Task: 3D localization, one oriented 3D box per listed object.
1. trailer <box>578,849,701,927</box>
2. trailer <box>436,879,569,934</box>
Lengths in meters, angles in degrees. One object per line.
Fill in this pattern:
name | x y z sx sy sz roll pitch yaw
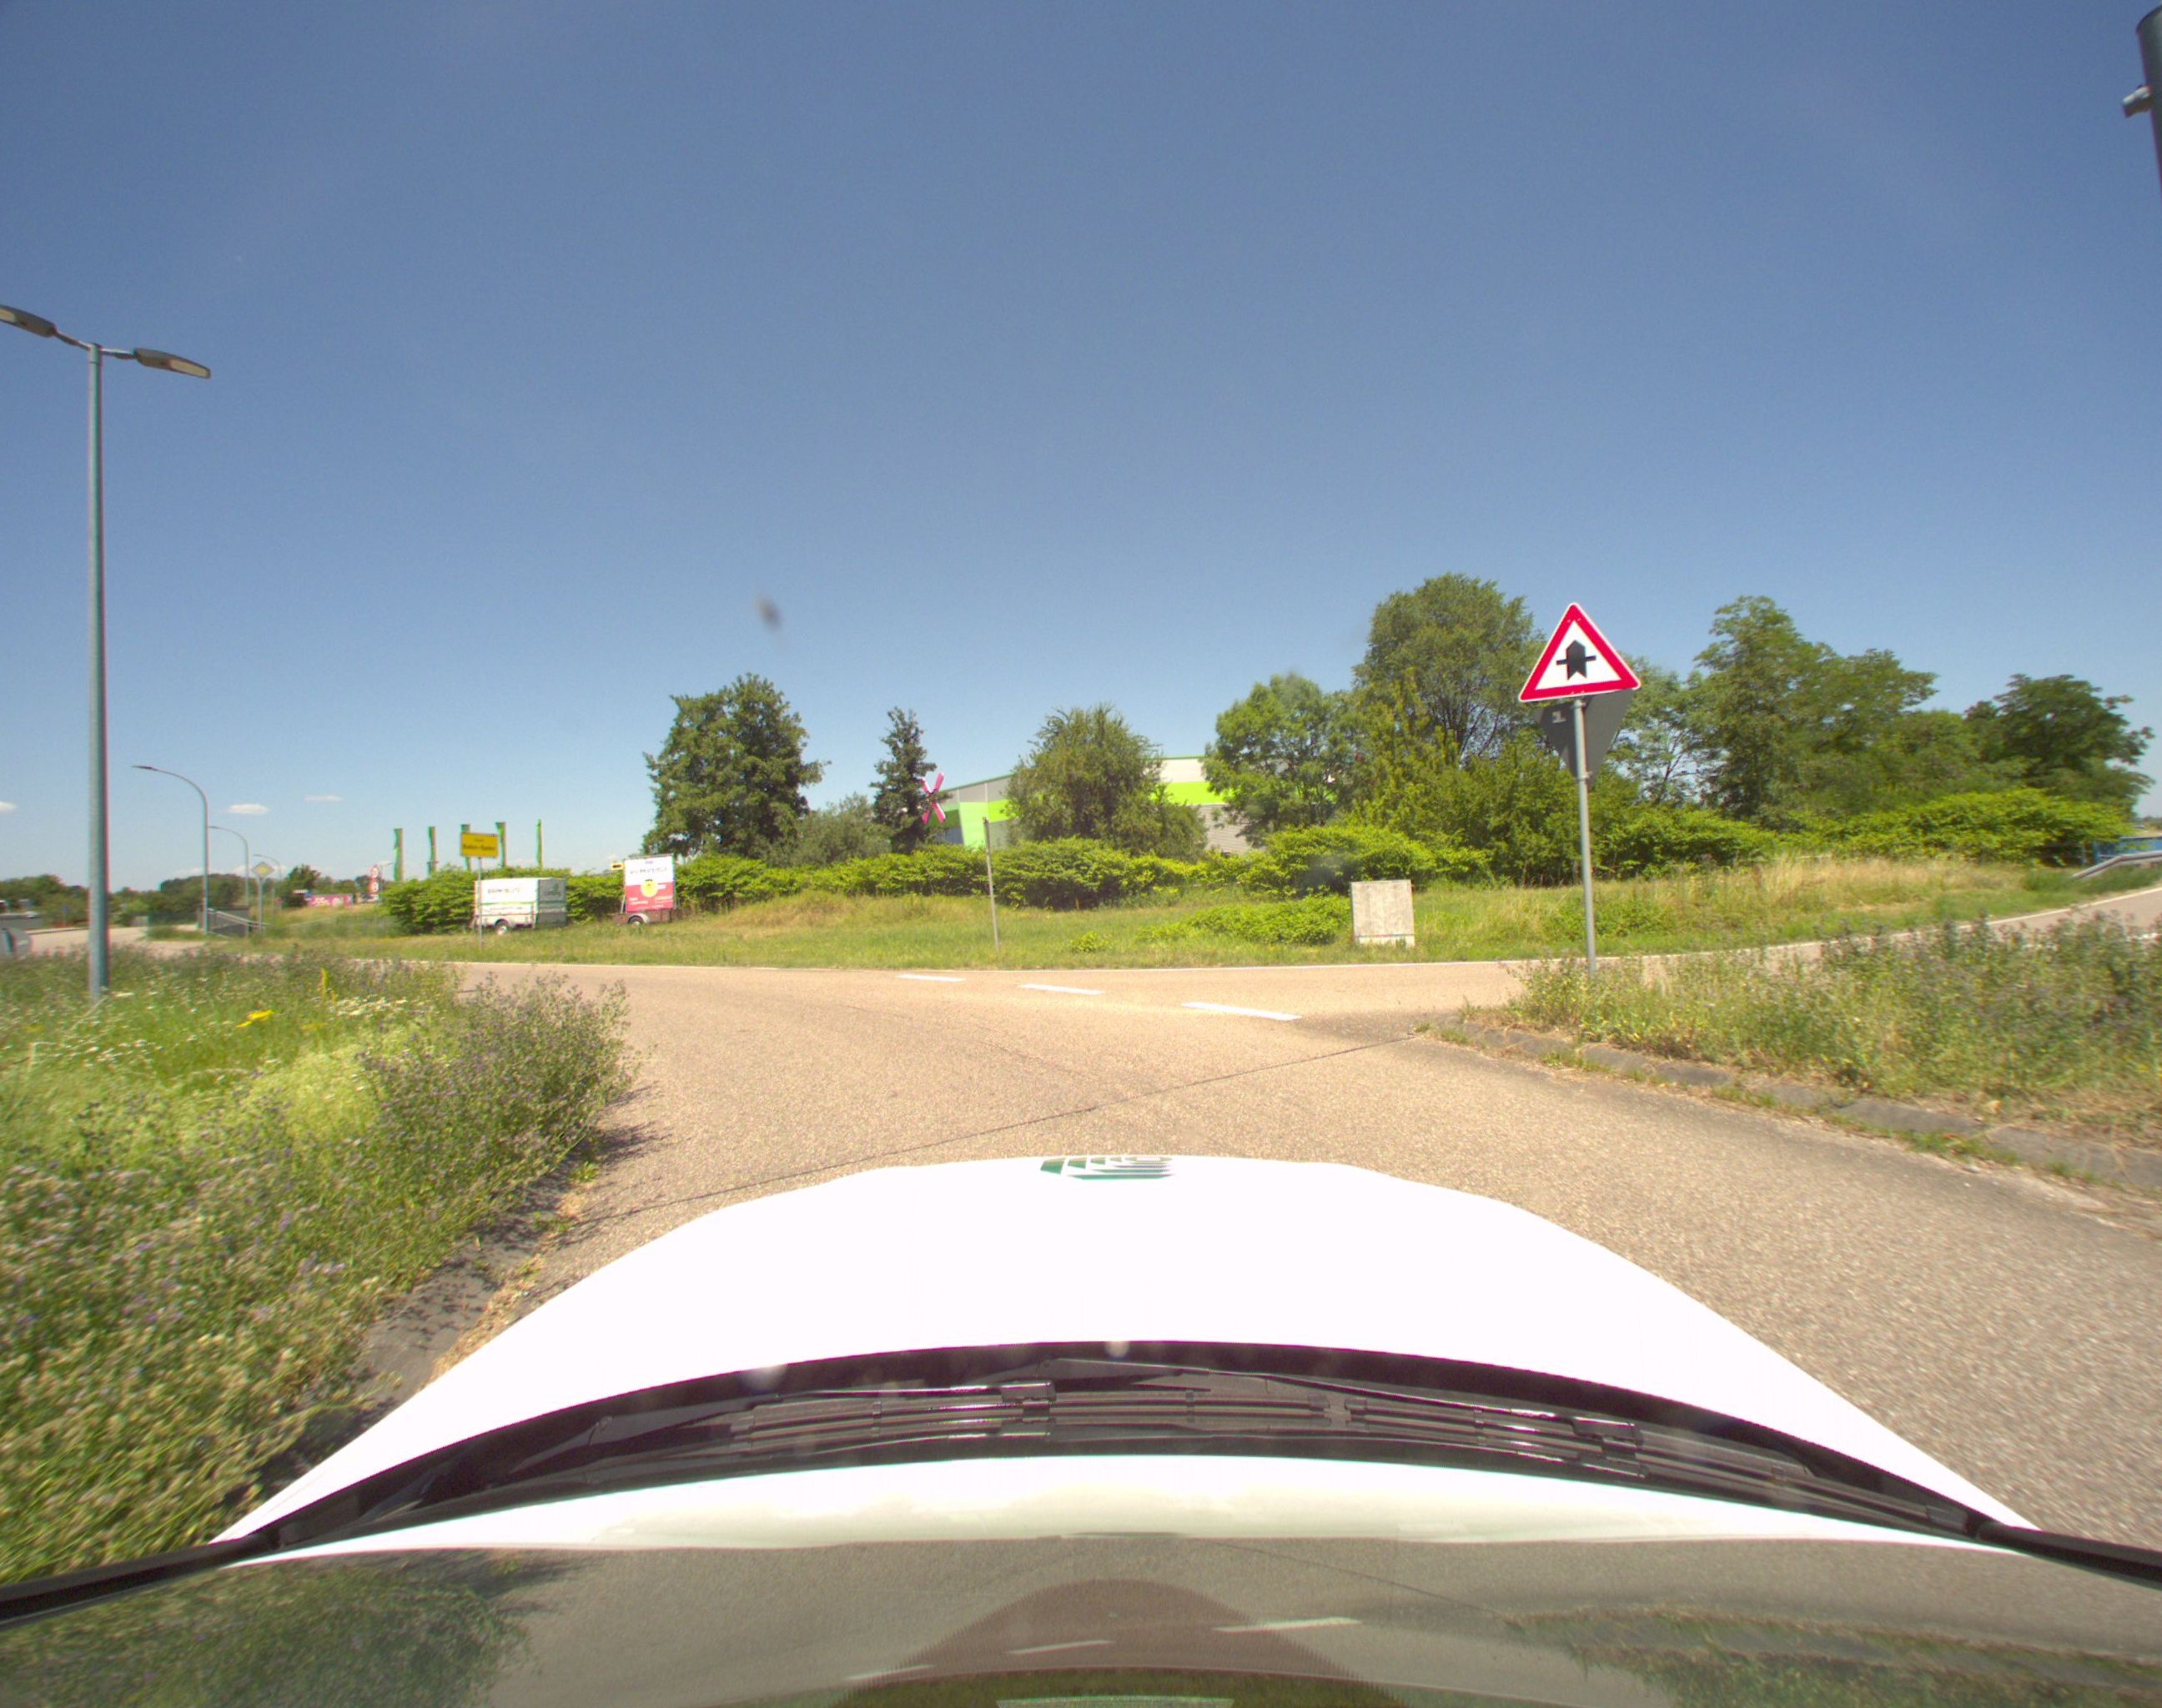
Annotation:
trailer | -17.113 1.301 31.625 3.726 2.764 1.830 -2 -1 7
trailer | -21.537 1.938 30.402 3.725 1.791 1.830 -3 -1 8
